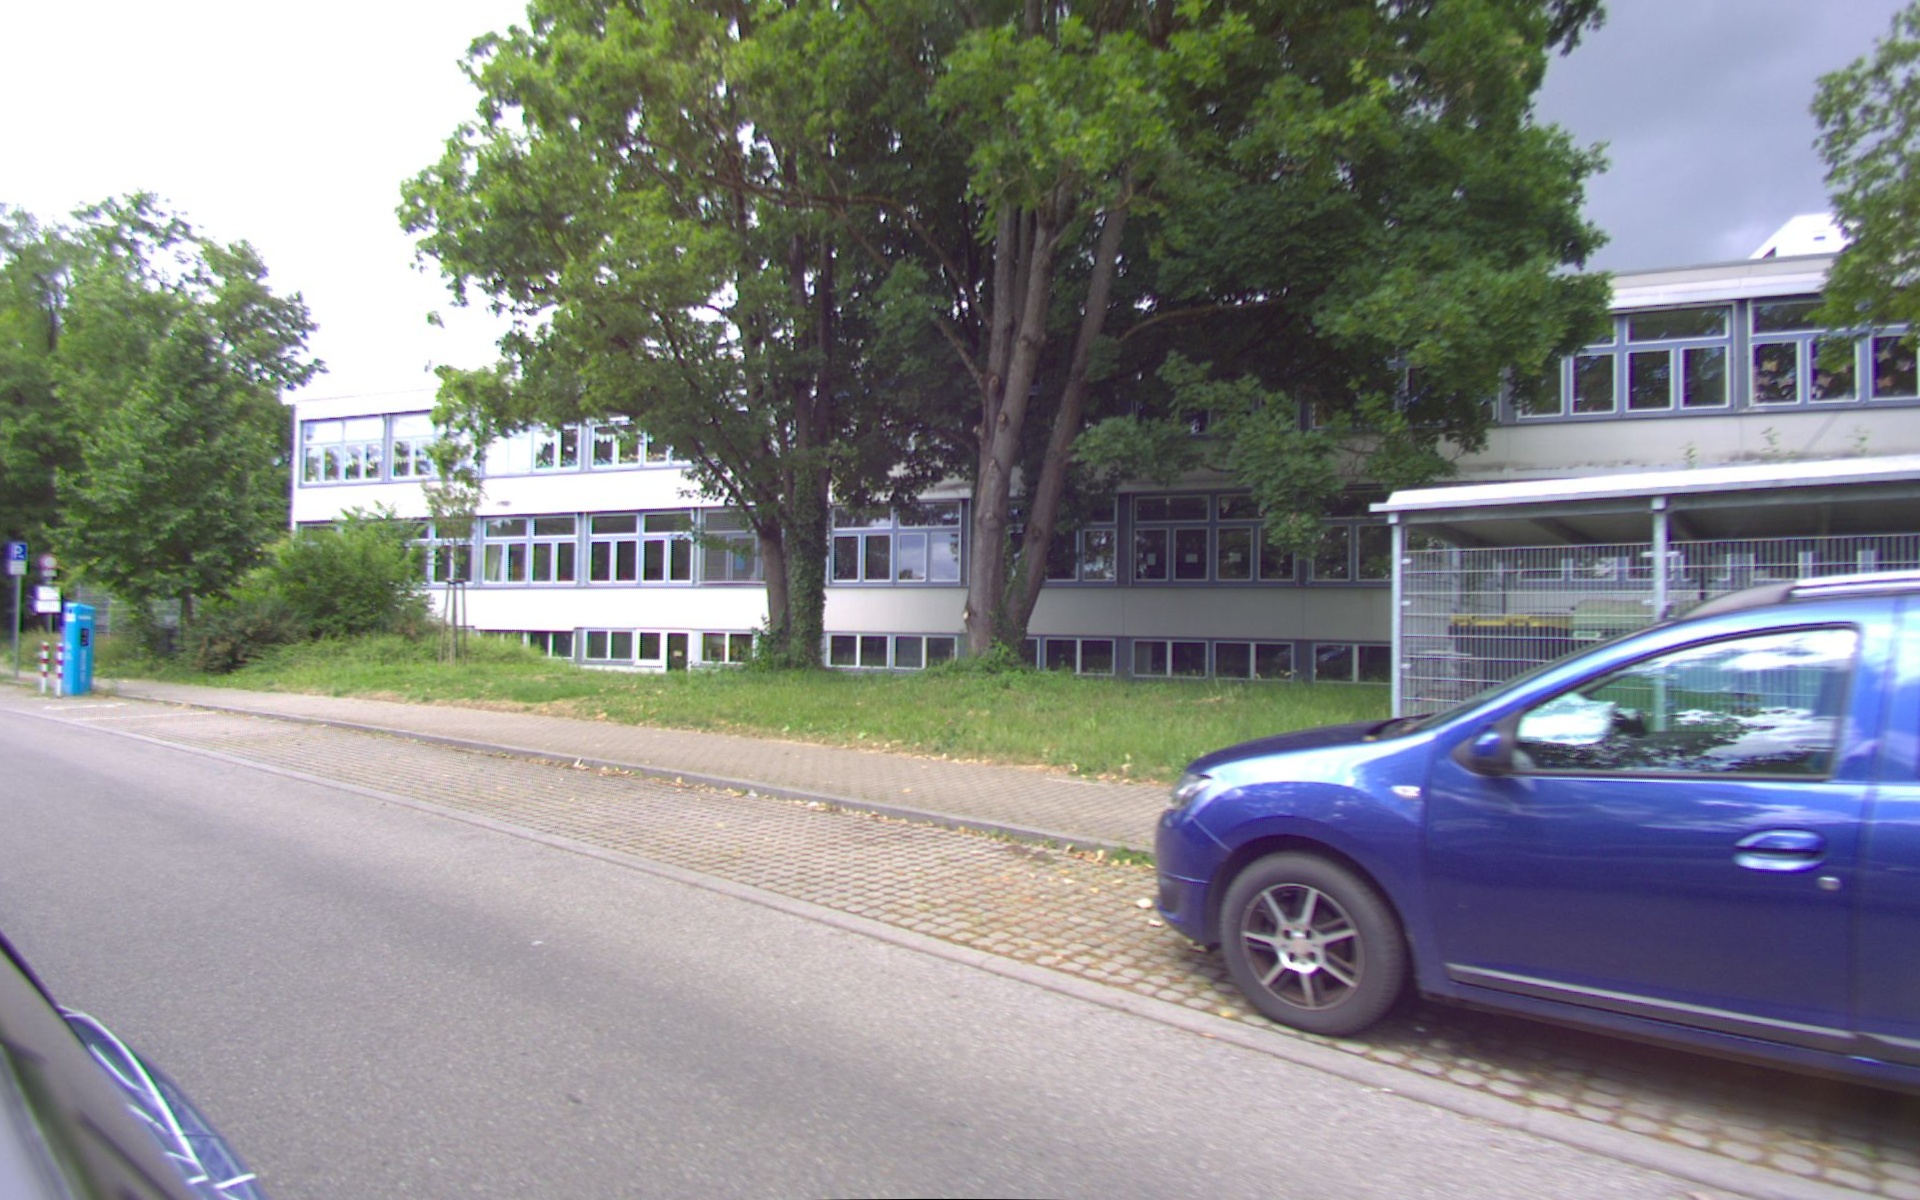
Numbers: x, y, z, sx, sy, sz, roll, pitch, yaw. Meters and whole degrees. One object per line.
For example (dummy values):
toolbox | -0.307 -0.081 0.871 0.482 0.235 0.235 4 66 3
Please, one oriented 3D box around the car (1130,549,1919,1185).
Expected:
car | 2.871 0.653 3.051 4.427 1.523 1.663 -1 -2 39
